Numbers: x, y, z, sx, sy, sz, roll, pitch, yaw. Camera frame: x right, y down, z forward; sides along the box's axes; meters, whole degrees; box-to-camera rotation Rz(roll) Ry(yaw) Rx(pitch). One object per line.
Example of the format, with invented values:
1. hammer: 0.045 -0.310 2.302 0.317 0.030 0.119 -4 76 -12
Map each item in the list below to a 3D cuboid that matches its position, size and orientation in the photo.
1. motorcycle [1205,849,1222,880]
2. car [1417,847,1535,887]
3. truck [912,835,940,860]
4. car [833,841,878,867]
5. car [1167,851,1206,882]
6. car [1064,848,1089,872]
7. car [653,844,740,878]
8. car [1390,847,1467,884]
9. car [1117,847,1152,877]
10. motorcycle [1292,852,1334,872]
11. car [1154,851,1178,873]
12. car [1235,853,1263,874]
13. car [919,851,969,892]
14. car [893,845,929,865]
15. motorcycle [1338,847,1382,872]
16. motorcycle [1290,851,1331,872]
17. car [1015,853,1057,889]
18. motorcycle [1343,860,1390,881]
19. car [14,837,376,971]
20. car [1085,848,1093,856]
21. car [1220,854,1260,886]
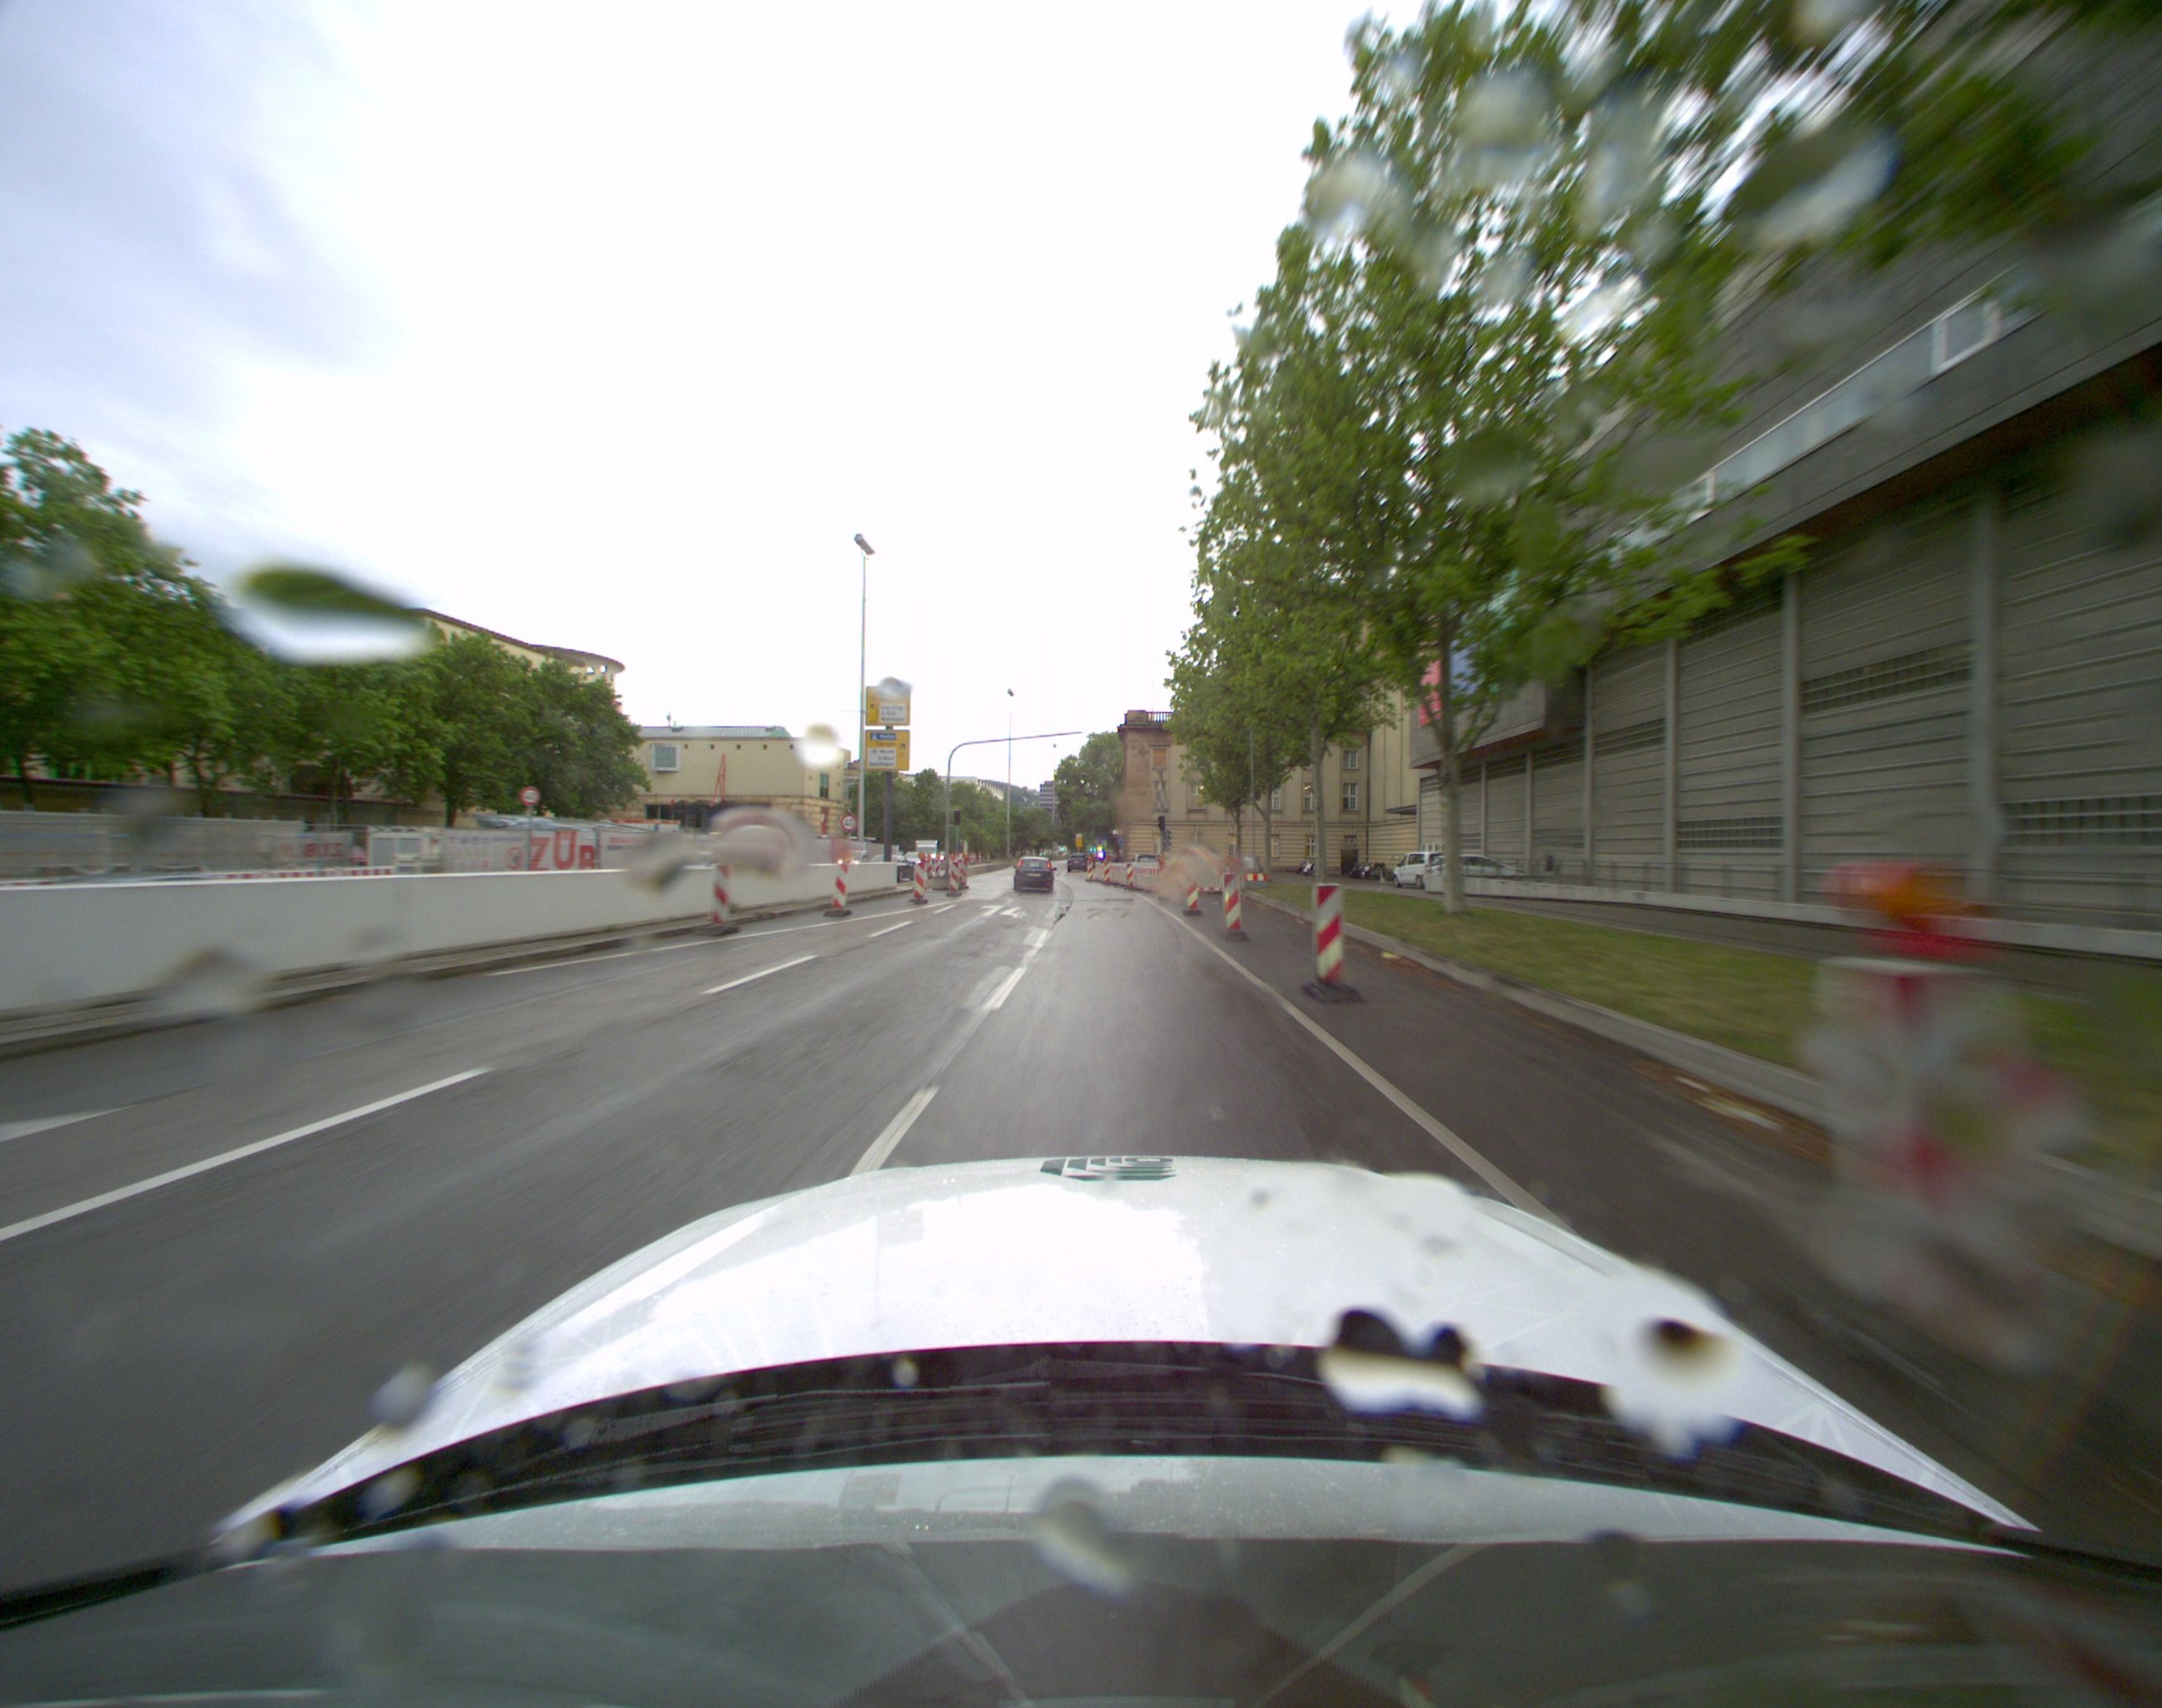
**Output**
1. motorcycle: 7.980 0.616 49.154 0.826 1.830 3.148 0 0 6
2. car: 16.317 0.559 33.813 3.971 1.560 1.934 -1 -3 2
3. truck: -15.953 -0.634 84.338 2.411 2.339 5.430 3 -1 -7
4. car: -14.397 -0.018 52.149 1.662 1.522 4.000 3 0 1
5. car: 6.483 0.728 50.560 1.986 1.708 4.002 2 1 2
6. car: -0.382 0.534 73.334 1.986 2.013 4.002 2 1 2
7. car: -14.770 0.257 31.466 1.620 1.195 3.406 2 0 2
8. car: 17.694 0.594 41.726 1.985 1.760 5.099 0 -1 3
9. car: 3.212 0.452 49.762 1.986 1.708 4.002 2 1 2
10. motorcycle: 18.944 0.652 66.616 3.146 1.543 0.891 2 -2 5
11. car: 7.287 0.641 69.684 1.983 1.708 4.008 2 1 7
12. car: 14.277 0.820 69.531 1.983 1.709 4.007 2 -1 7
13. car: -4.915 0.621 29.477 1.382 1.386 3.064 0 -1 -2
14. car: -14.075 0.146 67.645 1.987 1.479 4.000 3 -1 1
15. motorcycle: 23.290 0.495 68.097 3.335 2.014 1.153 1 -2 4
16. motorcycle: 19.058 0.643 67.641 3.145 1.543 0.891 2 -2 6
17. car: -1.902 0.683 34.499 1.666 1.427 3.753 1 0 -3
18. motorcycle: 22.921 1.303 65.427 3.335 1.531 1.153 2 -2 4
19. car: -15.538 0.769 14.686 1.986 2.013 4.002 2 0 2
20. car: 2.225 -0.485 227.047 1.989 2.014 3.995 3 -1 -3
21. car: 9.500 0.911 48.952 1.983 1.708 4.008 2 1 7
